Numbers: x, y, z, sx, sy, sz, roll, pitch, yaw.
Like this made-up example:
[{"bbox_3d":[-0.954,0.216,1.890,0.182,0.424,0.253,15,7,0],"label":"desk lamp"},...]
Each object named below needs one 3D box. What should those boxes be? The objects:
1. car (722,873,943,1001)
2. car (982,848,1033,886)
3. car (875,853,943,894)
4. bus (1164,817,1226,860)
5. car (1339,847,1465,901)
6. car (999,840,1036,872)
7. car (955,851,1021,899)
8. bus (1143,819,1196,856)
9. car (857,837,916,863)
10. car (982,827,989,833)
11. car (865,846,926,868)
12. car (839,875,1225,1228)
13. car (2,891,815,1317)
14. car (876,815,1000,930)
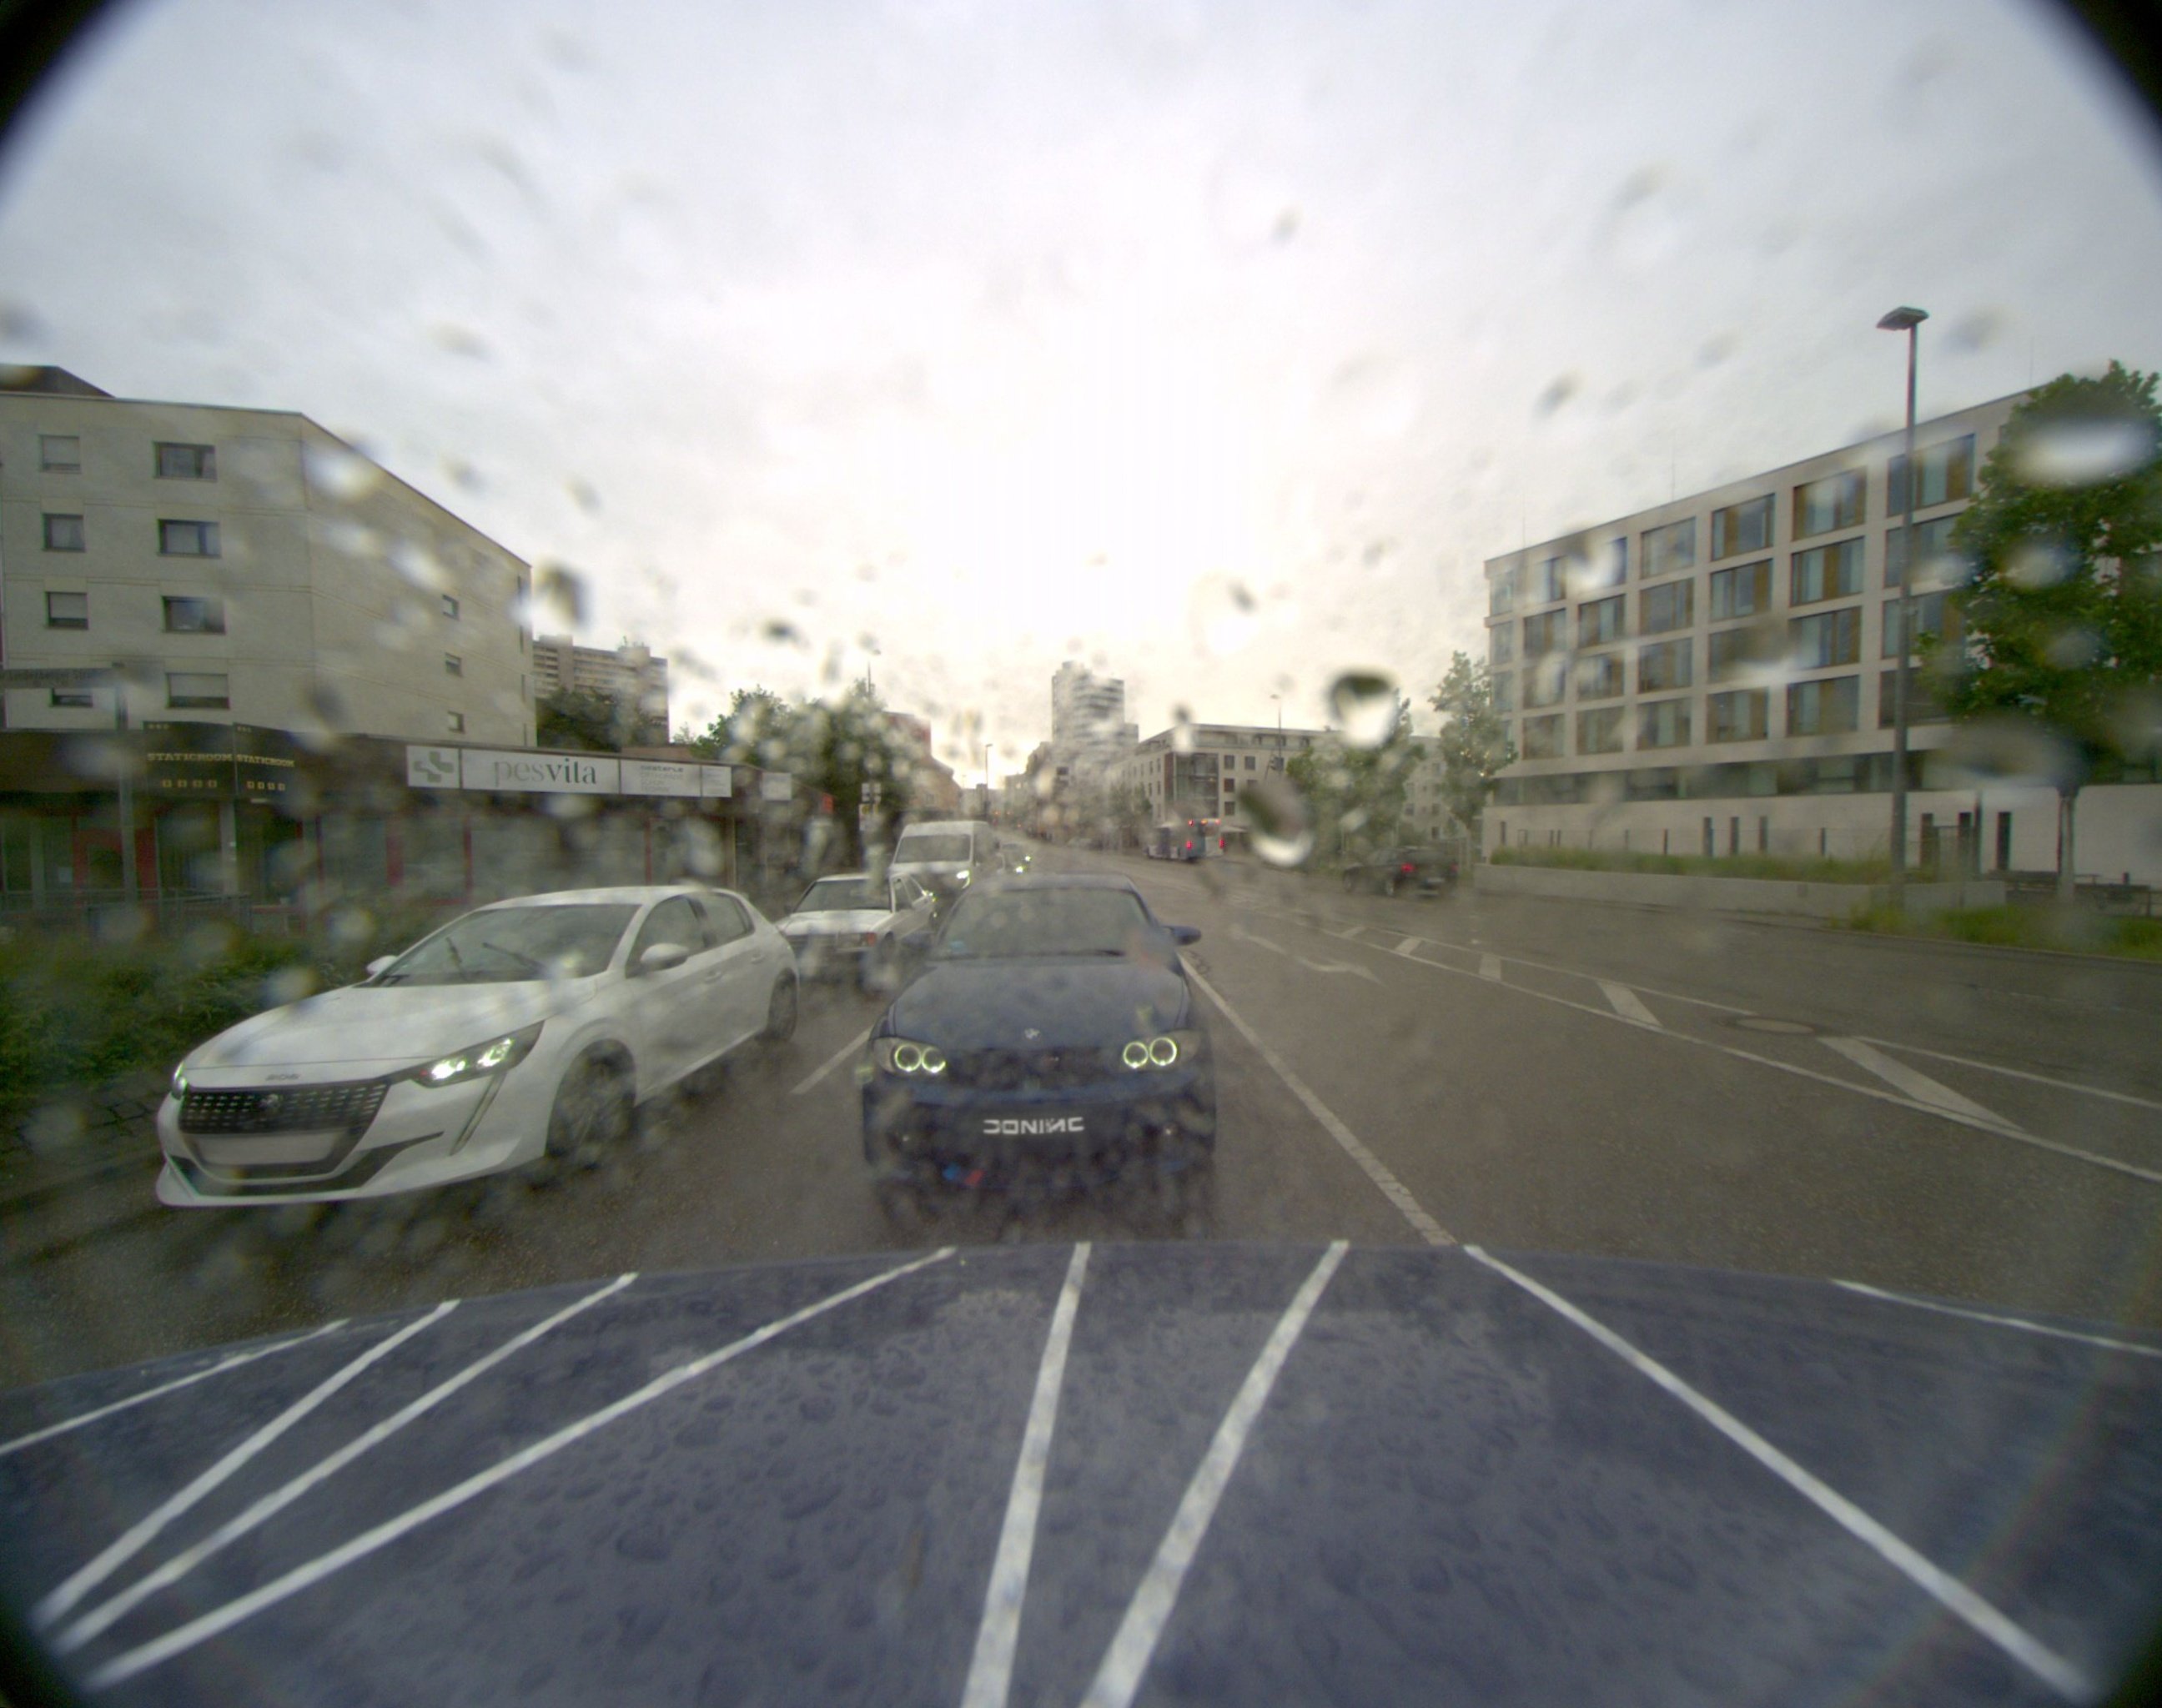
[{"bbox_3d":[-3.373,1.055,11.244,1.788,1.338,4.162,-2,1,1],"label":"car"},{"bbox_3d":[-3.346,0.547,35.234,1.999,1.559,3.998,-2,1,-1],"label":"car"},{"bbox_3d":[-7.017,0.757,31.421,1.788,1.481,4.000,-2,1,1],"label":"car"},{"bbox_3d":[8.655,-1.175,58.969,2.785,3.096,9.363,-1,1,-4],"label":"bus"},{"bbox_3d":[9.328,0.520,22.493,1.790,1.382,4.279,-1,1,-2],"label":"car"},{"bbox_3d":[-4.143,0.111,50.107,1.998,2.002,3.999,0,1,1],"label":"car"},{"bbox_3d":[-3.326,0.722,27.897,1.803,1.530,3.999,-2,1,1],"label":"car"},{"bbox_3d":[7.781,-1.426,68.108,2.800,3.096,8.877,-1,1,-7],"label":"bus"},{"bbox_3d":[-14.110,-0.279,55.329,4.000,1.769,1.882,-1,1,-10],"label":"car"},{"bbox_3d":[-26.719,-6.763,211.508,1.666,1.625,3.801,-2,1,-11],"label":"car"},{"bbox_3d":[-12.927,0.211,53.106,4.000,1.419,1.882,-1,1,-10],"label":"car"},{"bbox_3d":[-0.259,0.944,5.421,1.693,1.380,3.999,-2,1,-1],"label":"car"},{"bbox_3d":[-3.370,1.089,5.054,1.666,1.407,4.114,-2,1,1],"label":"car"},{"bbox_3d":[-3.487,0.344,19.862,2.197,2.503,6.120,-1,1,-2],"label":"car"}]
